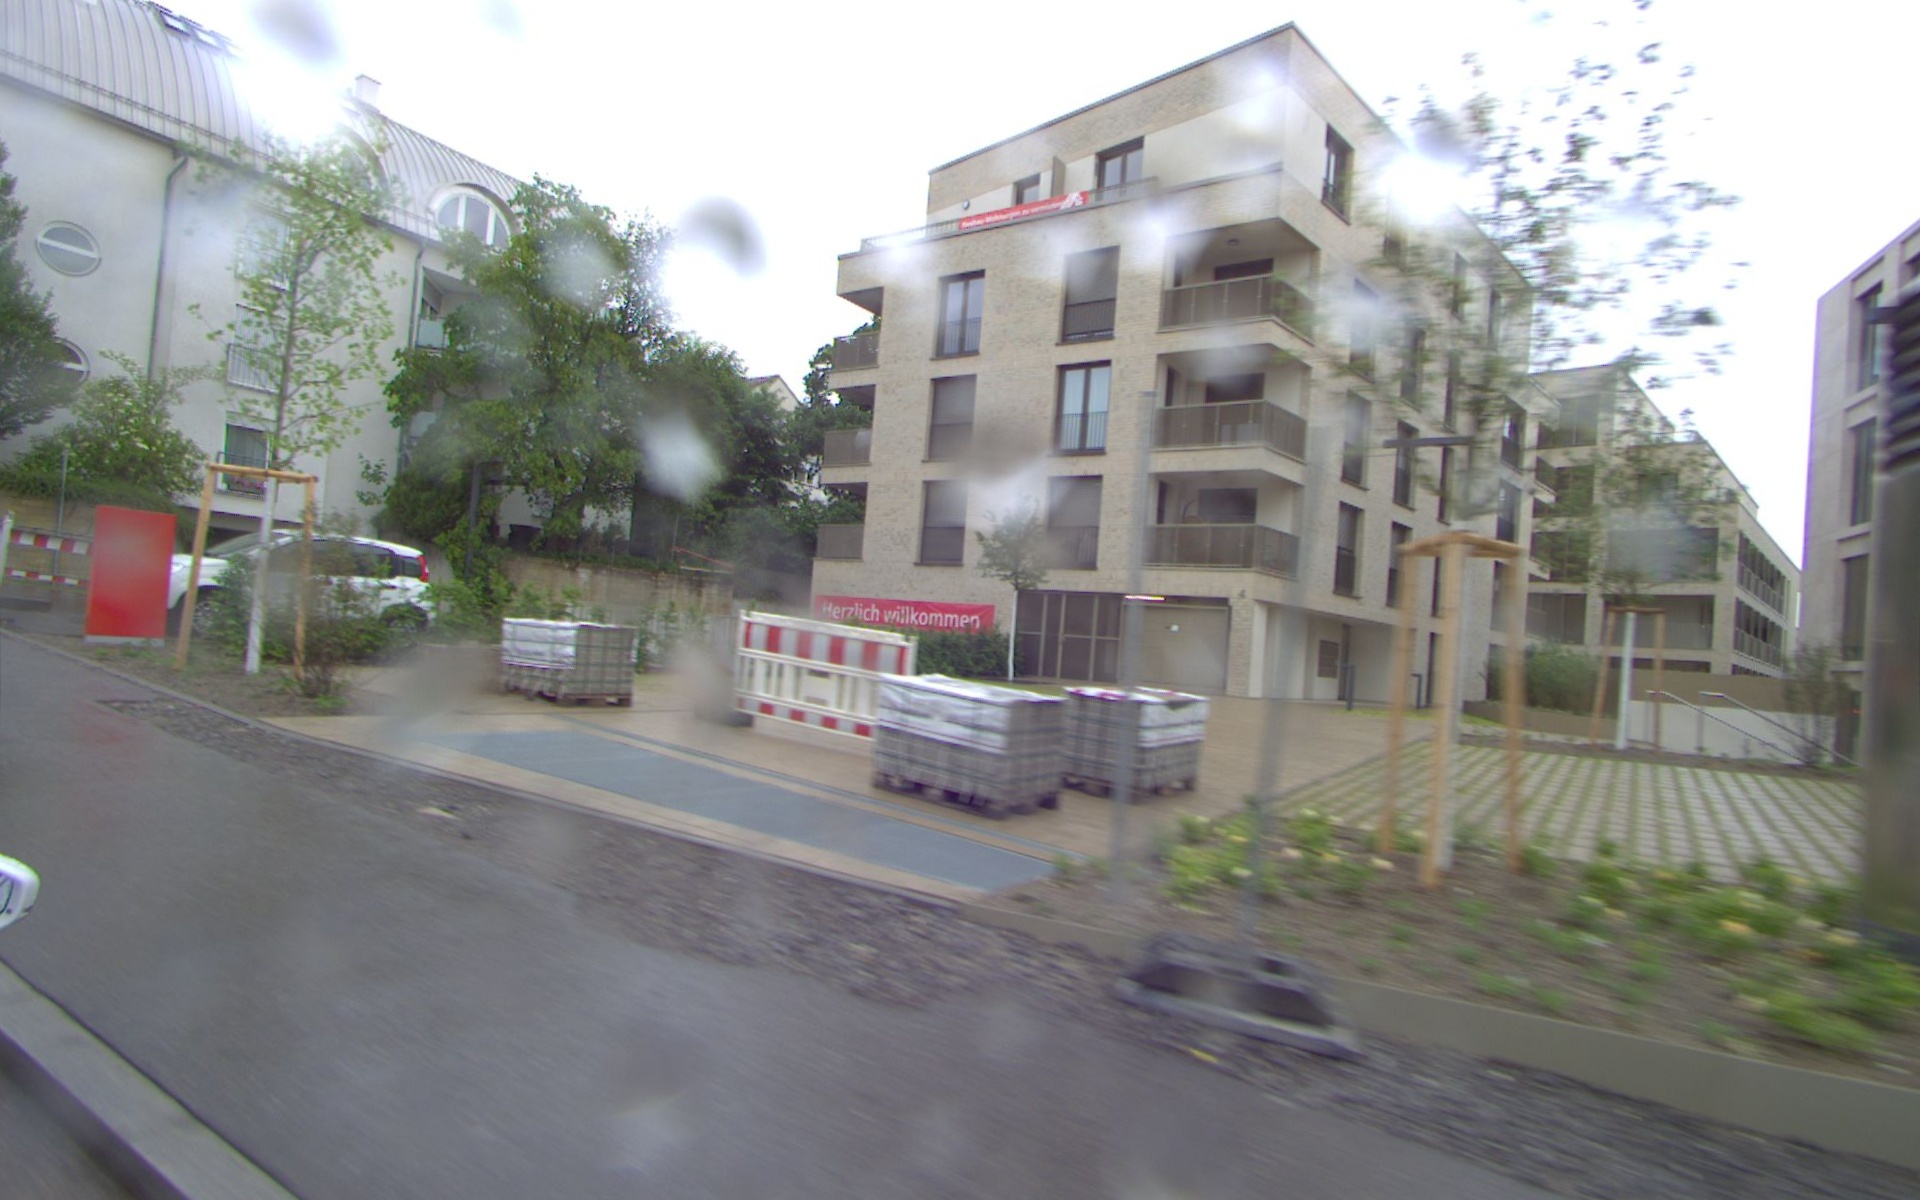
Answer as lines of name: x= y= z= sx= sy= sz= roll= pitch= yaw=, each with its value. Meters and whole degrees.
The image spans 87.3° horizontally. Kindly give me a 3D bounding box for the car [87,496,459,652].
car: x=-9.113 y=-0.270 z=13.623 sx=1.748 sy=1.521 sz=3.672 roll=7 pitch=-2 yaw=34
